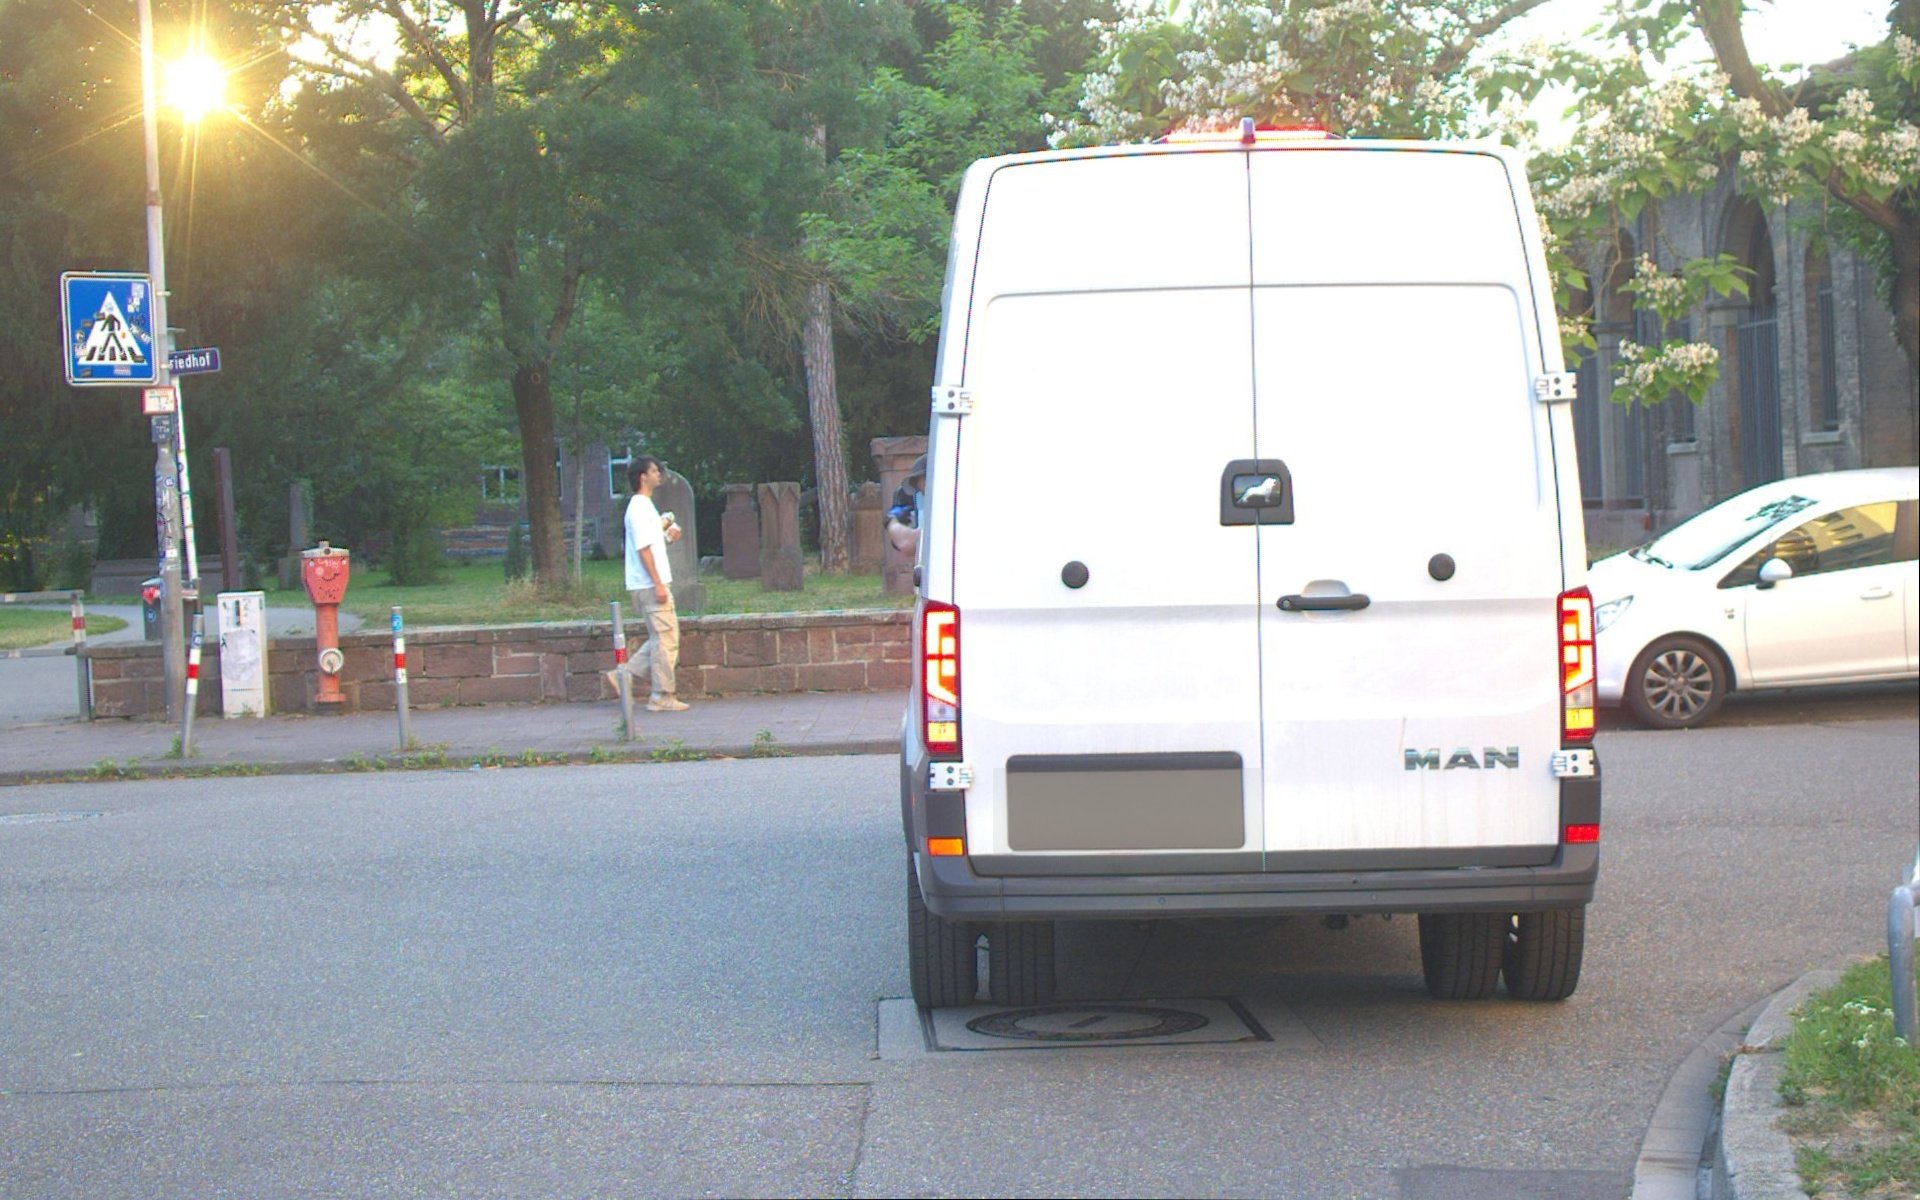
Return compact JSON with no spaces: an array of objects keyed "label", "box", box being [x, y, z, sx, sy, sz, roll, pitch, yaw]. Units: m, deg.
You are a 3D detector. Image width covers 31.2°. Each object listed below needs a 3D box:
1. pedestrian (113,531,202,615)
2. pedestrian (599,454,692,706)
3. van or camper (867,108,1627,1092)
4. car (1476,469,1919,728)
[{"label":"pedestrian","box":[-14.435,-0.495,61.865,1.328,1.439,1.046,-2,2,-2]},{"label":"pedestrian","box":[-2.283,-0.152,25.014,0.593,1.803,0.621,-1,1,0]},{"label":"van or camper","box":[0.817,-0.074,12.419,1.993,2.609,6.403,1,1,1]},{"label":"car","box":[5.538,-0.057,22.708,3.854,1.568,1.958,-2,2,-3]}]
